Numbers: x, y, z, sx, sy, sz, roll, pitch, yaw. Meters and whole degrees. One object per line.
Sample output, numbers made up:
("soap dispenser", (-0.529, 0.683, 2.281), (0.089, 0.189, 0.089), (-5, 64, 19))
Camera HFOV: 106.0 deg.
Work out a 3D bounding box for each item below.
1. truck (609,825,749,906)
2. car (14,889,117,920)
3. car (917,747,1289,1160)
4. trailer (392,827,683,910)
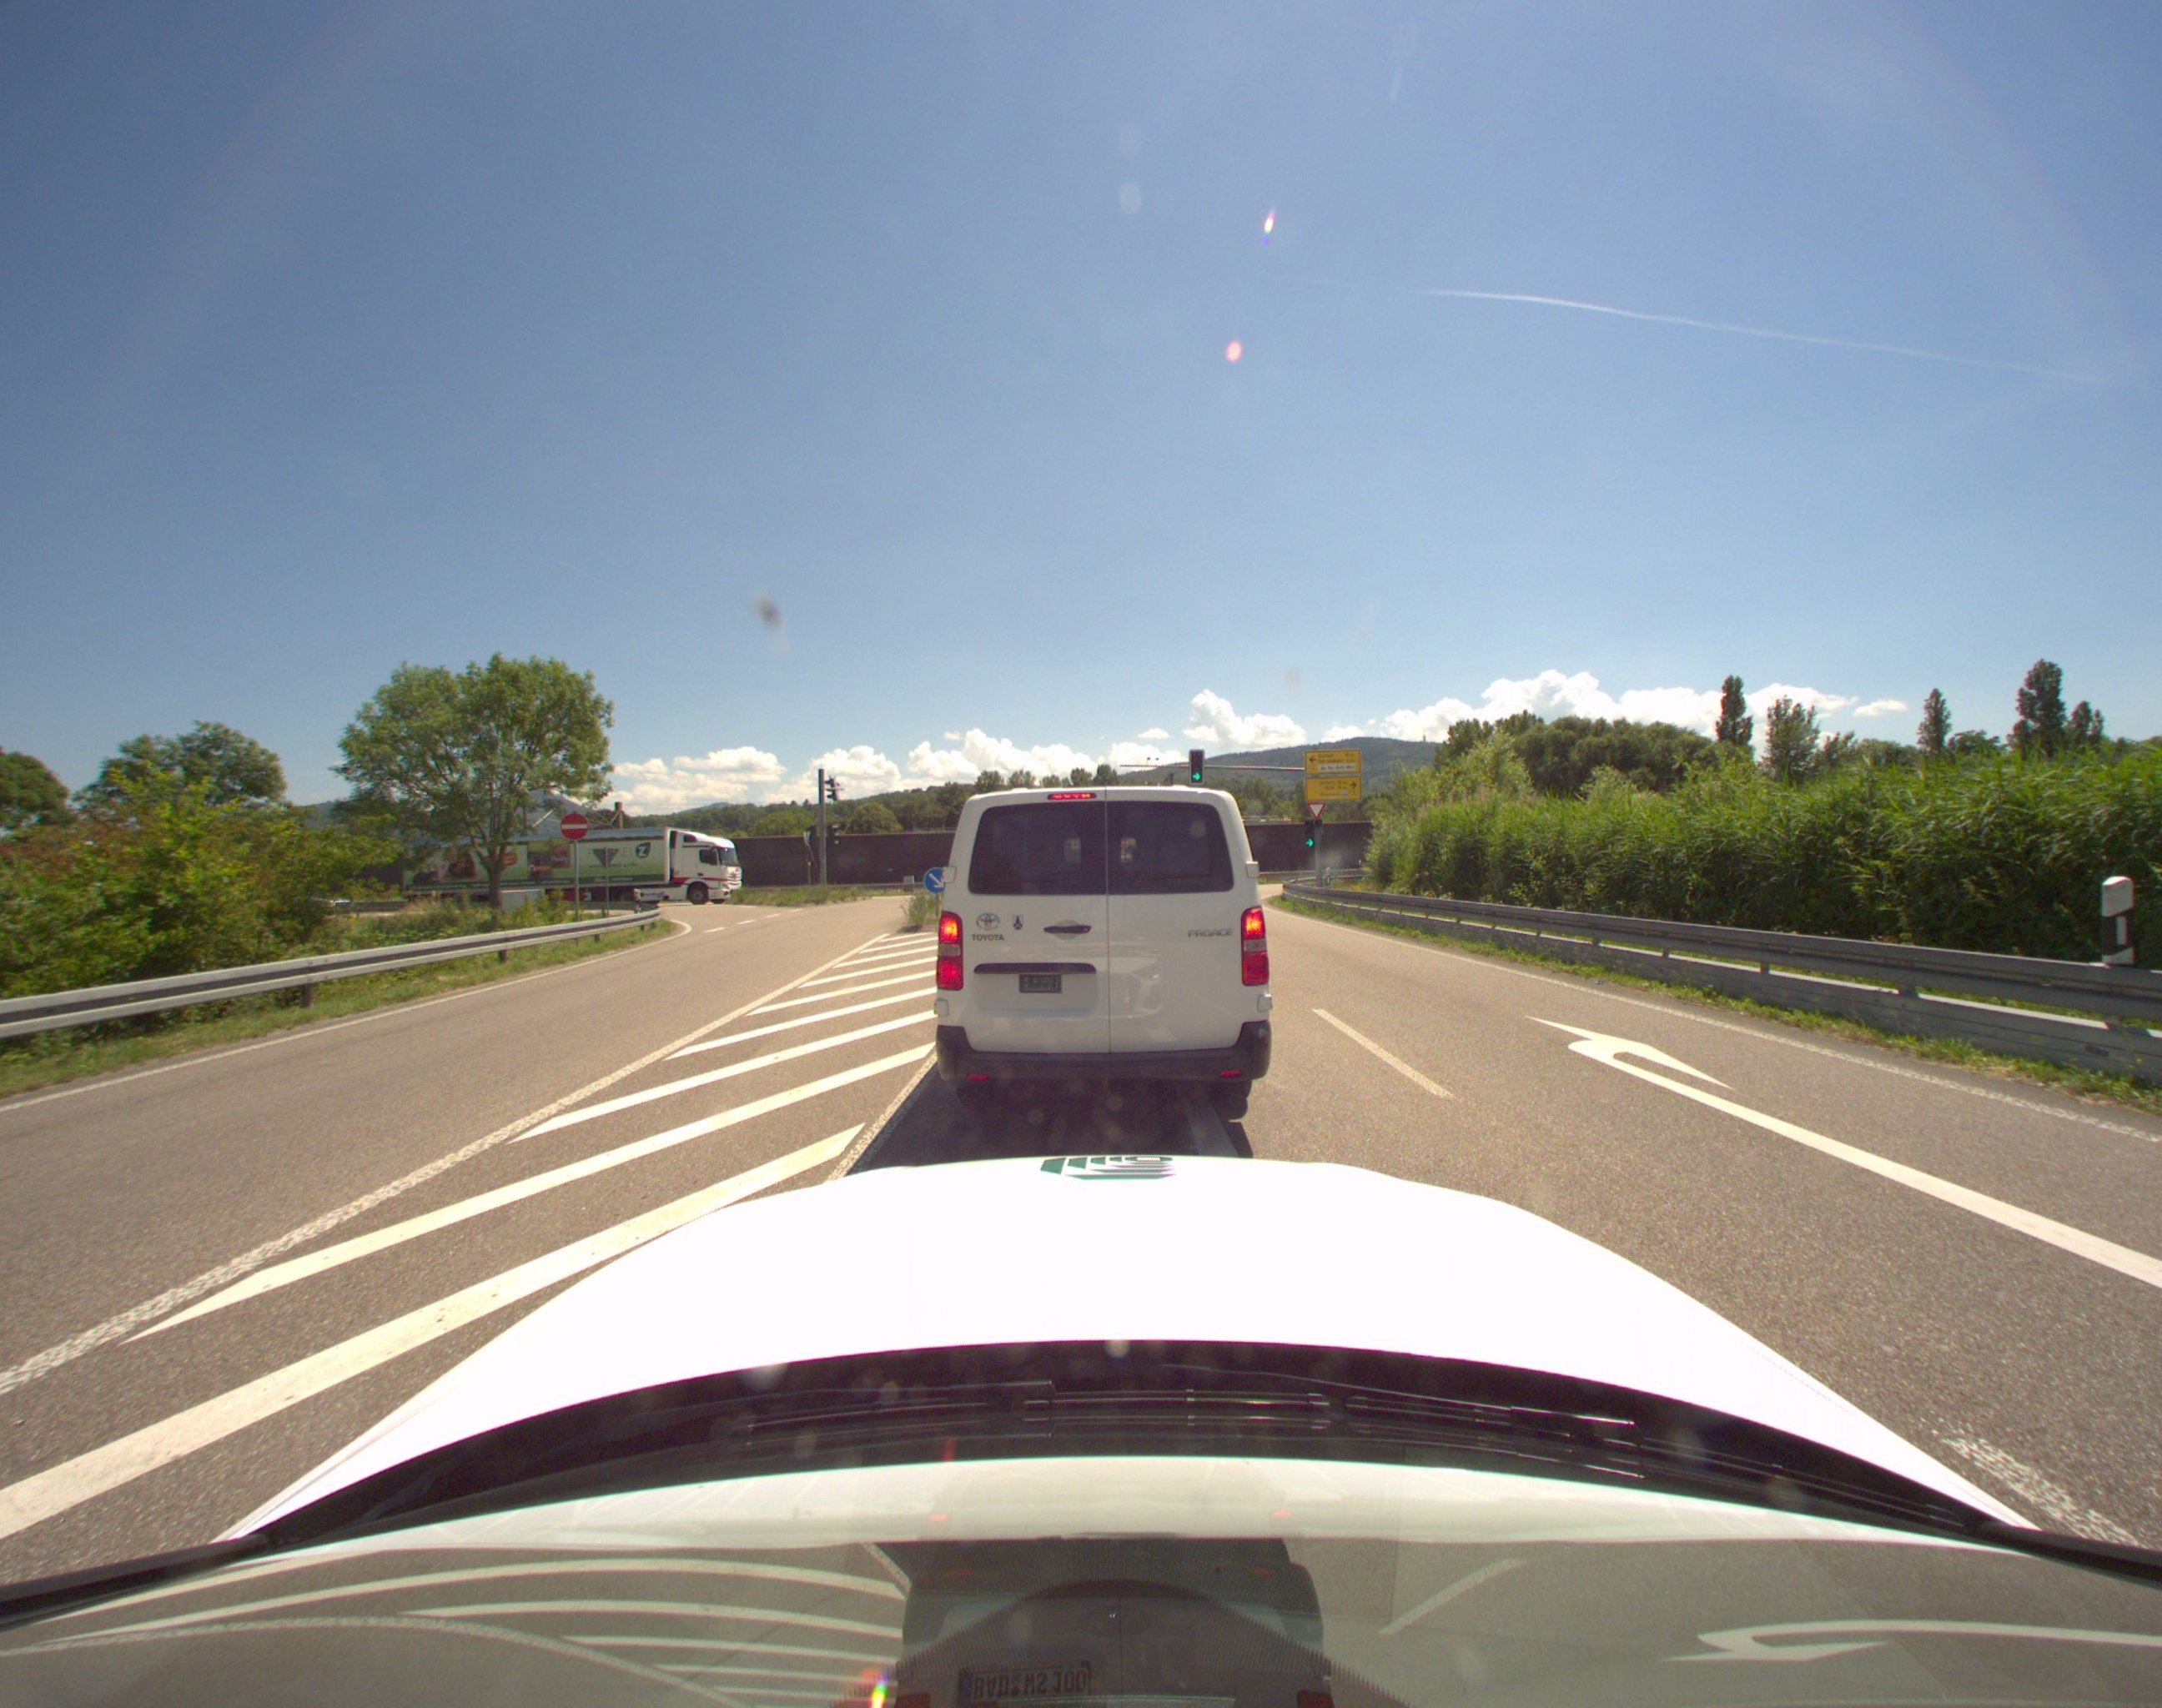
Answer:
("truck", (-20.983, 0.603, 42.780), (5.746, 3.954, 3.062), (-1, -1, 0))
("car", (-53.921, 2.677, 43.289), (3.462, 1.464, 1.554), (-1, -1, 0))
("car", (0.164, 0.510, 6.049), (1.808, 2.017, 4.001), (-1, -1, 2))
("trailer", (-28.241, 0.747, 42.723), (13.098, 3.954, 3.061), (-1, -1, 0))
